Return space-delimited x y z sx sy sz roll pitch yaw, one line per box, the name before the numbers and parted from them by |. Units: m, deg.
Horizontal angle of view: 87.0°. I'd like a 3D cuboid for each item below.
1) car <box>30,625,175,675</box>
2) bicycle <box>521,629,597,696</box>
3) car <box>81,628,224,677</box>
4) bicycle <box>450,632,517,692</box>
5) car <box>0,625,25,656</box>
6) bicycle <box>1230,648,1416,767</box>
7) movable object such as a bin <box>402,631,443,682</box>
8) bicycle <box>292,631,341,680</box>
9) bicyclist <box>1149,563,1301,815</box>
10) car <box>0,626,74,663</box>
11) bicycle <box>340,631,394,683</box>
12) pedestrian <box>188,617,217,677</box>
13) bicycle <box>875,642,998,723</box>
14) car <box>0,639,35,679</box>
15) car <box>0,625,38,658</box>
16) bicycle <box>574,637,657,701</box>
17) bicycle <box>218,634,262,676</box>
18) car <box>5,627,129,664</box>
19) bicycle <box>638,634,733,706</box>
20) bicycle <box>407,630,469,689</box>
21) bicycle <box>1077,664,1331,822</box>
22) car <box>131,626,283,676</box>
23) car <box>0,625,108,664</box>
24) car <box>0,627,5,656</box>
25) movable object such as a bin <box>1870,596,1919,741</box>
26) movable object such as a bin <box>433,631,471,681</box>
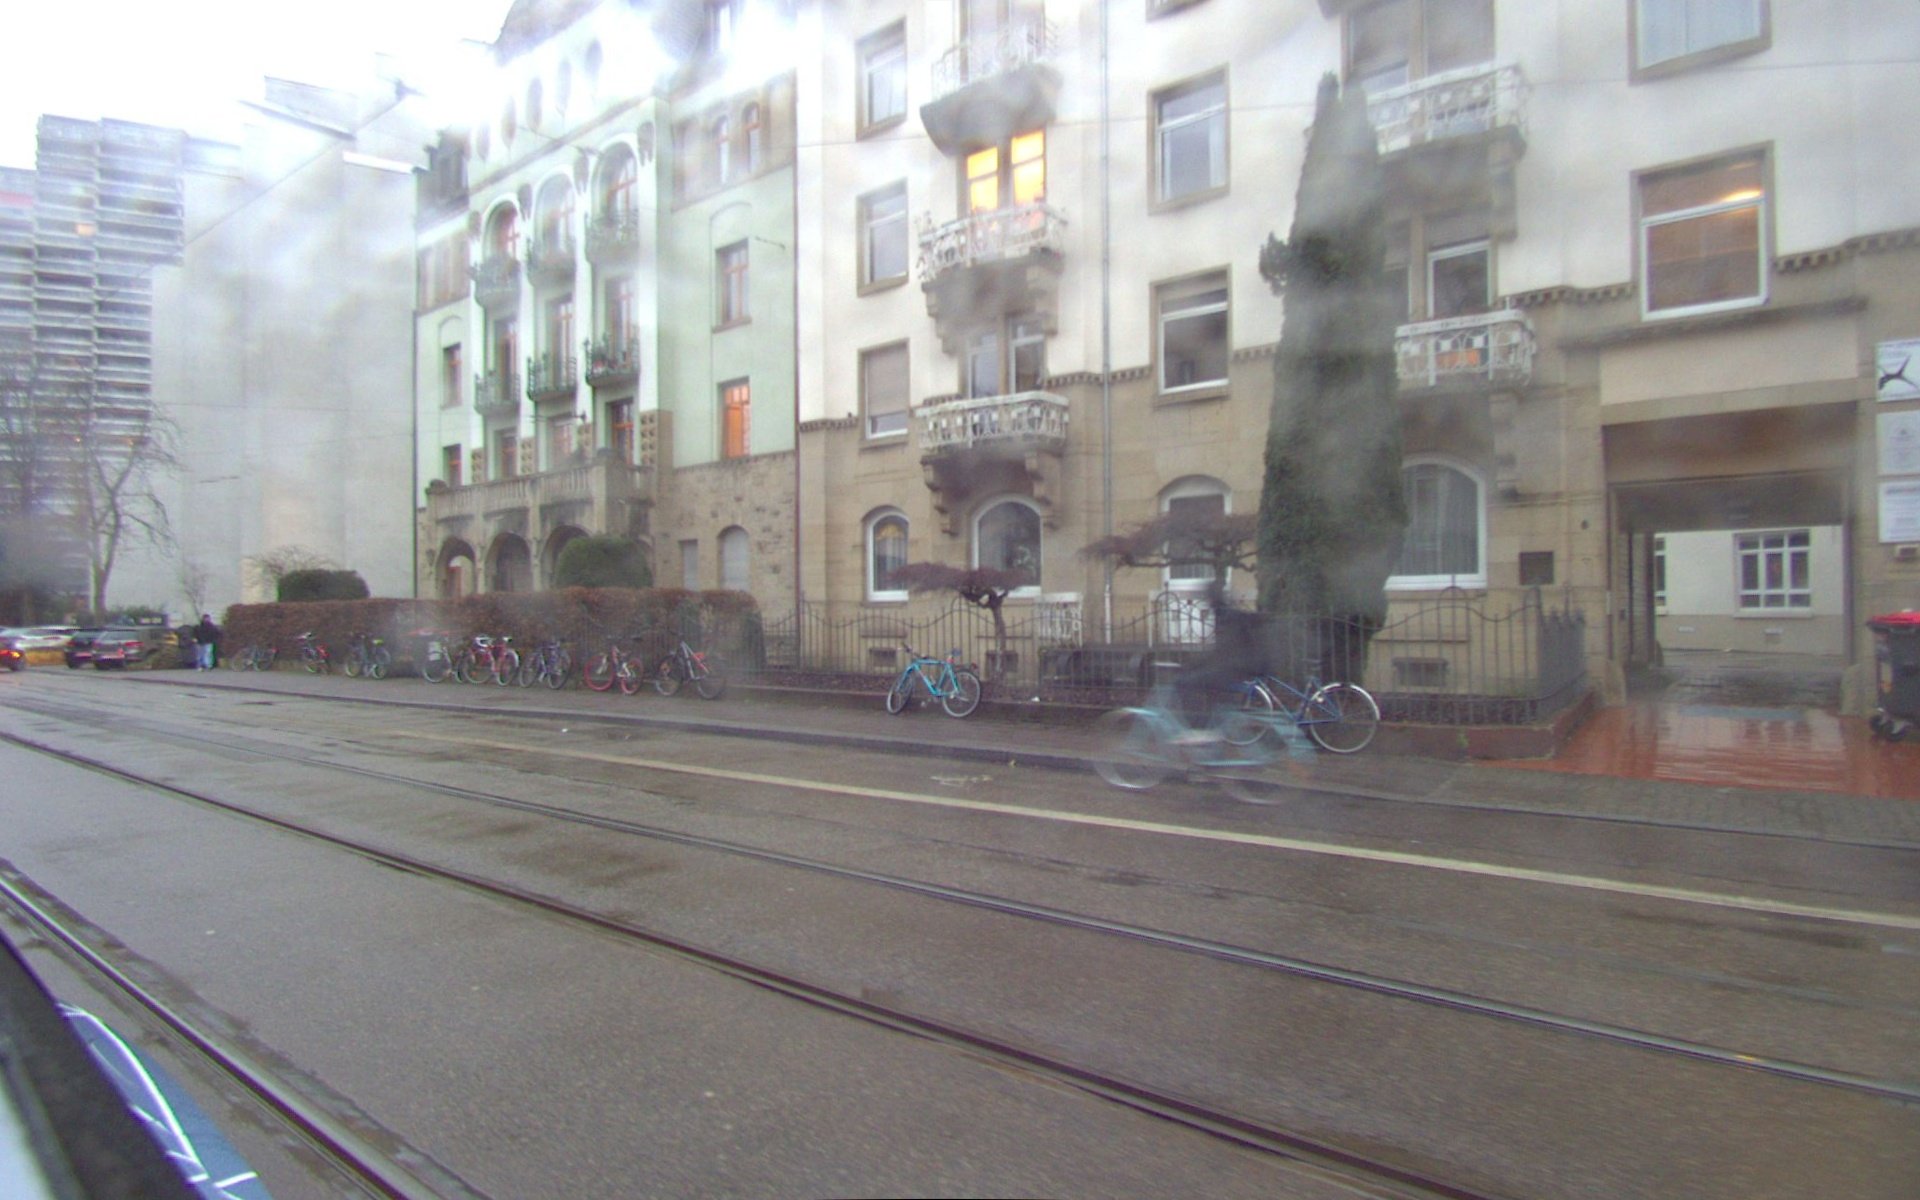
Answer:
car | -30.645 1.753 36.346 1.843 1.608 3.999 -1 -1 0
bicycle | -7.616 1.162 19.194 1.661 1.221 0.617 -2 -2 40
car | -27.722 1.762 34.912 1.740 1.497 3.999 -1 -1 0
bicycle | -9.801 1.256 20.795 1.661 1.173 0.617 -2 -2 40
car | -51.477 2.135 52.746 1.843 1.608 3.999 -1 -1 0
bicycle | 3.682 1.052 10.343 1.661 1.101 0.617 -2 -2 40
movable object such as a bin | -12.801 1.333 24.099 0.674 1.173 0.651 -2 -2 40
bicycle | -16.596 1.421 26.087 1.661 1.221 0.617 -2 -2 40
bicyclist | 2.130 0.677 8.152 0.990 1.891 0.617 -2 -2 40
car | -43.856 2.042 47.054 1.843 1.608 3.999 -1 -1 0
bicycle | -14.366 1.358 24.515 1.661 1.221 0.617 -2 -2 40
pedestrian | -22.592 1.387 30.184 0.644 1.738 0.567 0 1 41
bicycle | -0.336 1.078 13.598 1.661 1.010 0.617 -2 -2 40
car | -31.574 1.889 32.406 1.682 1.262 3.678 0 -2 -22
car | -49.063 2.096 50.872 1.843 1.608 3.999 -1 -1 0
bicycle | -6.175 1.206 18.097 1.725 1.073 0.617 -2 -2 40
bicycle | -20.659 1.565 29.030 1.661 1.173 0.617 -2 -1 40
car | -38.184 1.914 43.409 1.843 1.460 3.999 -1 -1 0
bicycle | -4.586 1.140 16.852 1.782 1.134 0.617 -2 -2 40
bicycle | -11.406 1.279 22.112 1.661 1.221 0.617 -2 -2 40
bicycle | 1.950 1.102 8.300 1.946 1.101 0.617 -2 -2 40
car | -25.262 1.673 34.118 1.848 1.505 3.989 -1 -1 9
car | -41.119 1.980 45.741 1.843 1.608 3.999 -1 -1 0
car | -53.973 2.301 54.222 1.843 1.608 3.999 -1 -1 0
movable object such as a bin | 10.051 0.676 10.241 1.166 1.390 1.092 -2 1 39
movable object such as a bin | -12.355 1.353 24.620 0.674 1.173 0.617 -2 -2 40
